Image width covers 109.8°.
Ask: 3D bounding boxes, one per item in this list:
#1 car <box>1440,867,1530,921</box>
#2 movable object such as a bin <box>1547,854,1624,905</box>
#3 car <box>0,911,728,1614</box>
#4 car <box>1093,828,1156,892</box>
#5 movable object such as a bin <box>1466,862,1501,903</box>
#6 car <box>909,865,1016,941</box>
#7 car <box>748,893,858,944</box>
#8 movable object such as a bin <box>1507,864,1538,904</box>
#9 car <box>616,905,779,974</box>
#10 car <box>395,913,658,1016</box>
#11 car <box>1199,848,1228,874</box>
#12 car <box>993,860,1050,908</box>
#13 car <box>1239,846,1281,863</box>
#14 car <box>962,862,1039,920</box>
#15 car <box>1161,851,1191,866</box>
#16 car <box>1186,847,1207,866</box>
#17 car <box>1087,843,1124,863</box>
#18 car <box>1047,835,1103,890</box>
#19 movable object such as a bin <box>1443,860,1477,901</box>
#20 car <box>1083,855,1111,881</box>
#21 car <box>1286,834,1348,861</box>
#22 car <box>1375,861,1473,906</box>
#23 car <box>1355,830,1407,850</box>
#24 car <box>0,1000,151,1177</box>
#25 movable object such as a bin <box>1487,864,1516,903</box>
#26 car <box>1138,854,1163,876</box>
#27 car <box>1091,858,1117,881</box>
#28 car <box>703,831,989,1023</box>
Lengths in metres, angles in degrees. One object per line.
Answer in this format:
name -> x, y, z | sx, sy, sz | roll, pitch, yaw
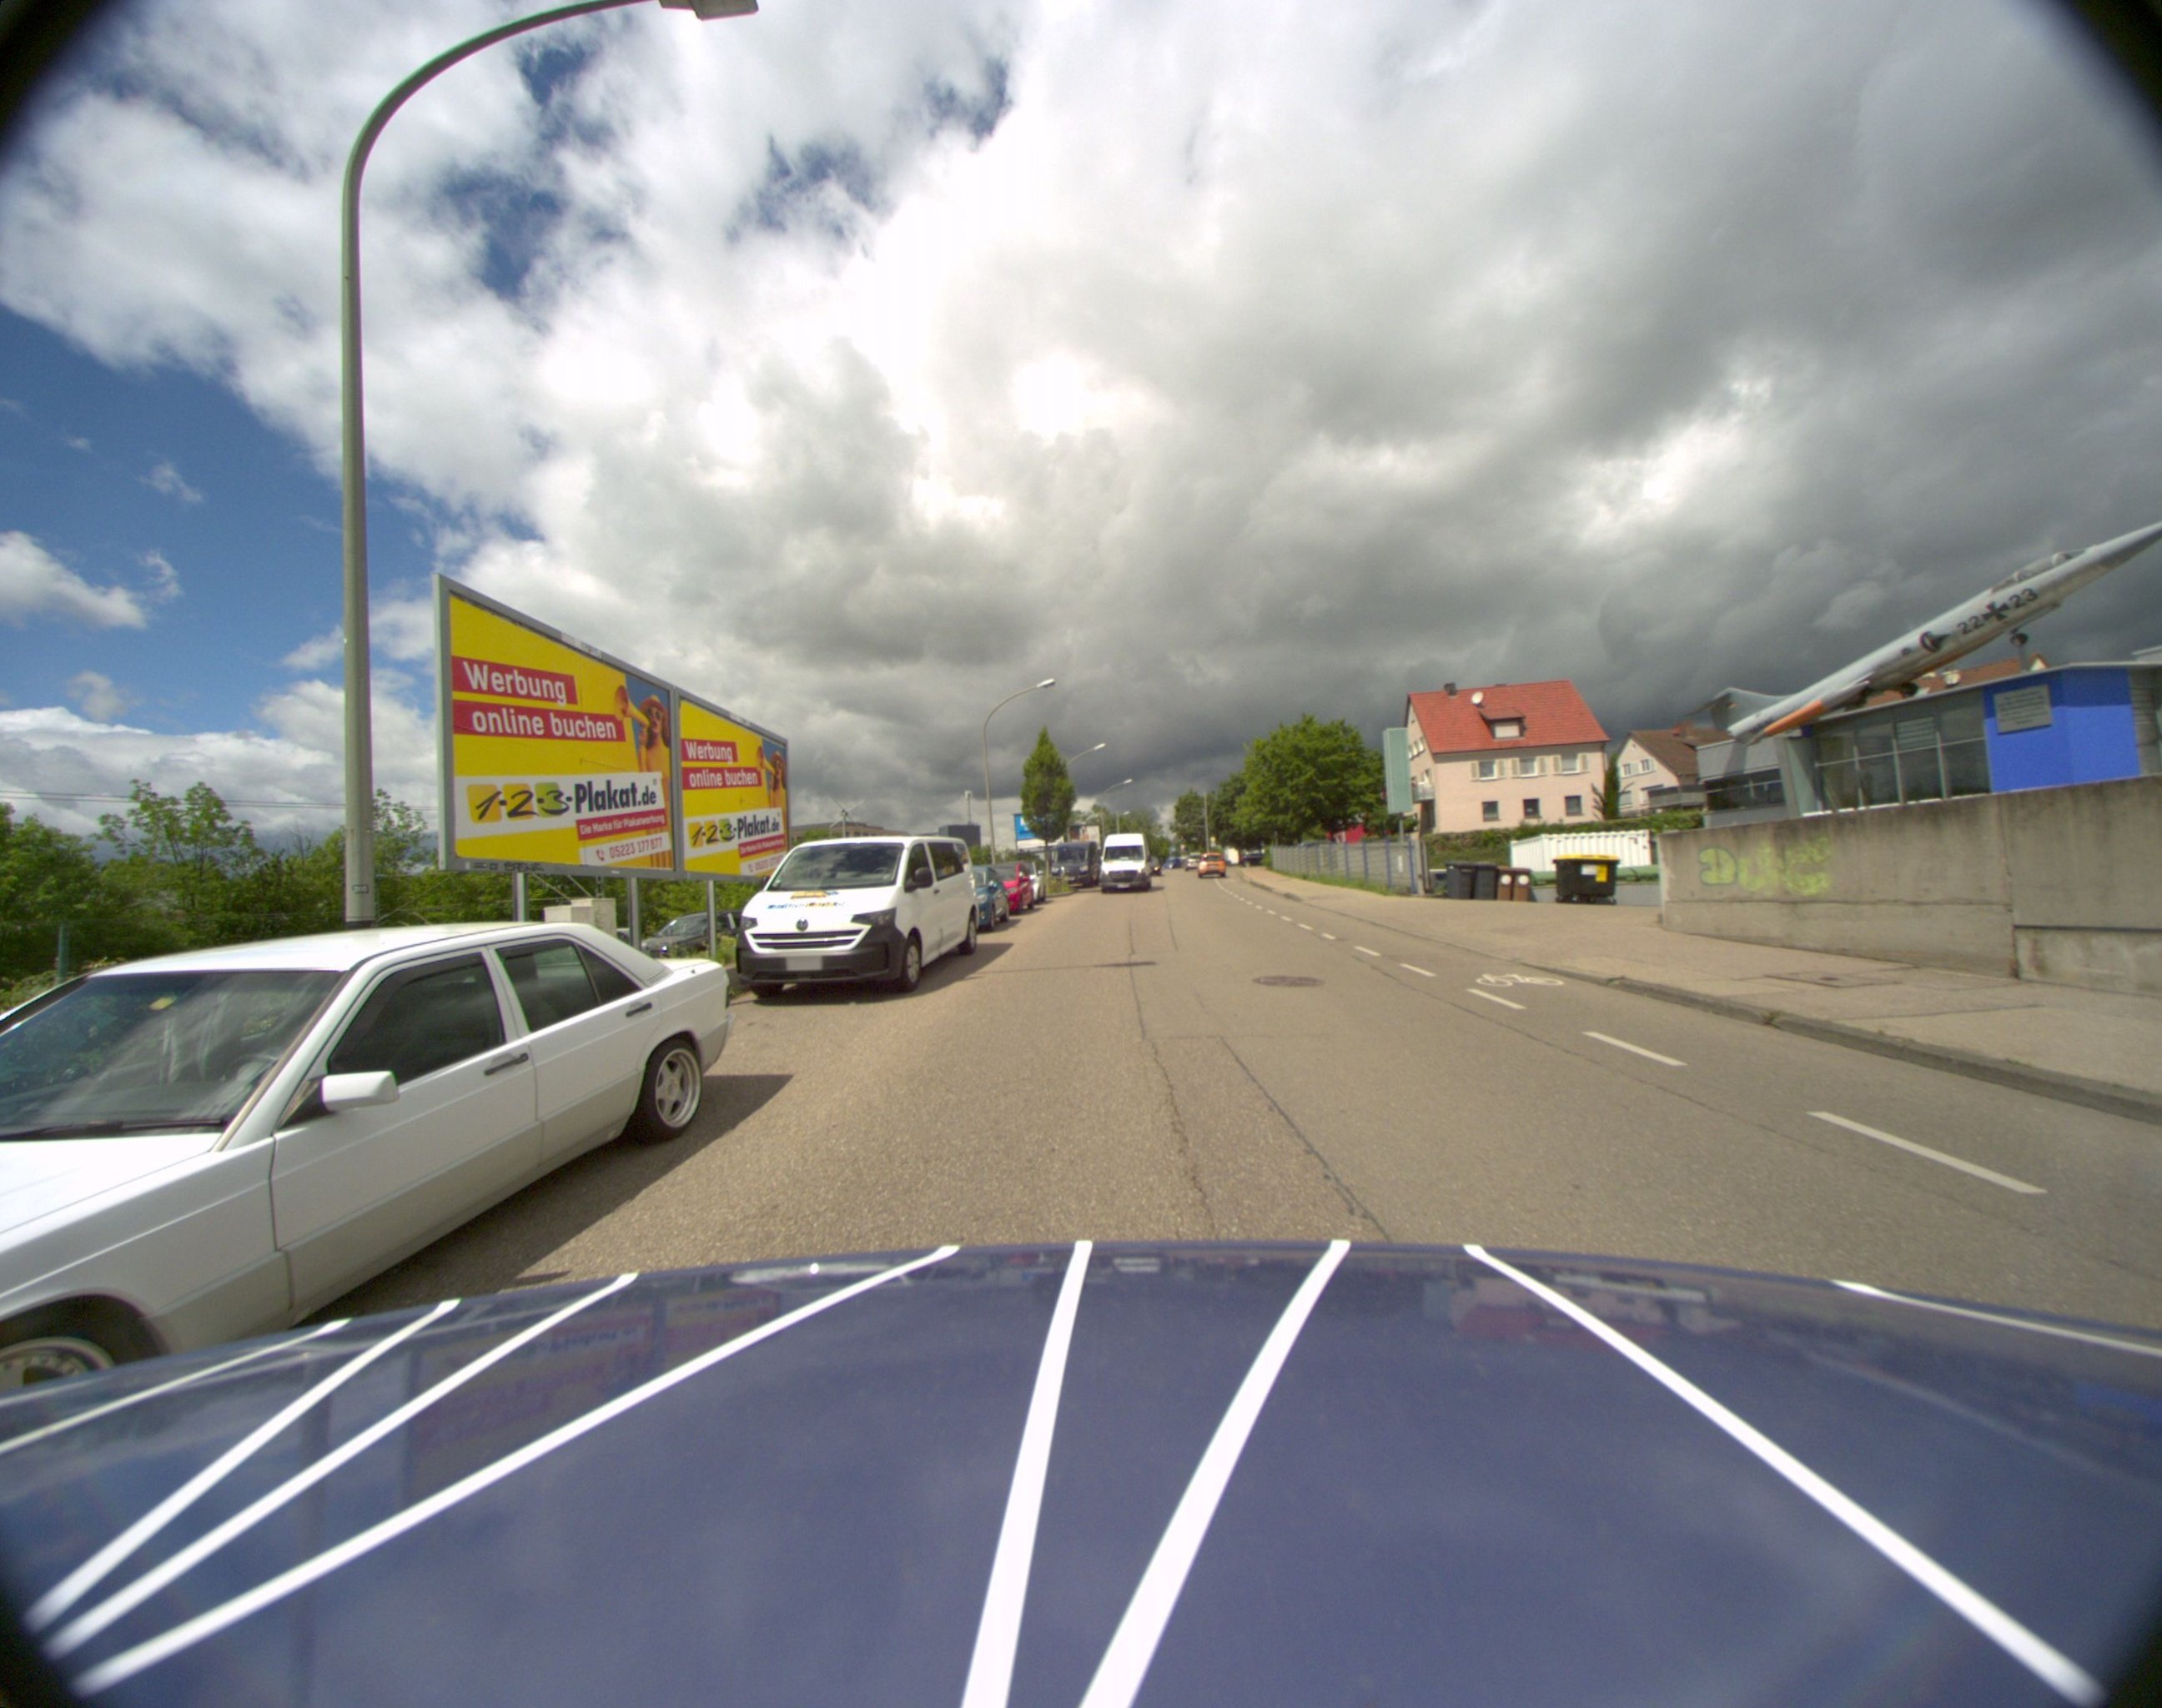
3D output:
car -> 12.722, 1.212, 24.126 | 1.433, 1.451, 3.364 | -3, 0, 8
movable object such as a bin -> 13.393, 0.655, 20.228 | 1.223, 1.299, 1.232 | 1, 1, 3
car -> -3.285, 1.104, 2.906 | 1.641, 1.379, 4.205 | -3, 0, 3
car -> 2.080, 0.213, 34.533 | 2.081, 2.576, 6.066 | -3, 0, 10
movable object such as a bin -> 10.873, 0.754, 20.532 | 0.664, 1.074, 0.517 | 1, 1, 3
car -> -2.655, 1.053, 17.869 | 1.596, 1.442, 3.980 | -3, 0, 3
car -> -9.781, 2.228, 27.169 | 1.820, 1.343, 4.557 | -2, 0, 6
movable object such as a bin -> 11.940, 0.800, 20.563 | 0.516, 1.039, 0.517 | 1, 1, 3
car -> -10.499, 2.298, 21.252 | 1.820, 1.343, 4.557 | -2, 0, 6
car -> -11.317, 2.181, 16.023 | 1.820, 1.433, 4.557 | -2, 0, 6
car -> 8.319, 0.412, 47.579 | 1.603, 1.482, 3.685 | -3, 0, 12
car -> -2.059, 1.018, 27.104 | 1.596, 1.514, 2.858 | -3, 0, 3
car -> 17.592, 0.008, 74.882 | 3.853, 1.497, 1.587 | -3, 0, 10
car -> -2.307, 1.034, 22.631 | 1.596, 1.473, 3.501 | -3, 0, 5
car -> 14.901, 0.701, 118.983 | 1.956, 1.958, 5.141 | -2, 1, 41
car -> 10.193, 0.209, 67.209 | 1.646, 1.523, 4.224 | -3, 0, 6
car -> 3.552, -0.123, 110.161 | 5.139, 2.576, 1.957 | -3, 1, -35
car -> -0.201, 0.378, 39.814 | 2.058, 2.579, 5.737 | -3, 0, 7
movable object such as a bin -> 10.268, 0.705, 20.604 | 0.664, 1.074, 0.517 | 1, 1, 3
car -> 1.014, 0.827, 47.038 | 1.333, 1.446, 3.368 | -3, 0, 7
car -> 16.975, -0.468, 54.812 | 3.953, 1.766, 1.524 | -3, 1, 3
car -> 17.030, 1.449, 37.878 | 3.995, 2.002, 1.852 | -3, 1, 6
car -> 26.621, -1.245, 67.608 | 4.014, 1.497, 1.587 | -3, 0, 10
car -> -12.570, 2.524, 8.307 | 3.992, 1.482, 1.648 | -2, 0, 18
movable object such as a bin -> 11.433, 0.794, 20.644 | 0.503, 1.054, 0.498 | 1, 1, 3
car -> 5.017, 0.764, 55.224 | 1.584, 1.497, 3.958 | -3, 0, 2
car -> 1.576, 1.017, 52.036 | 1.401, 1.424, 3.446 | -3, 0, 7
car -> -2.890, 0.790, 10.990 | 1.979, 1.992, 5.548 | -3, 0, 4
